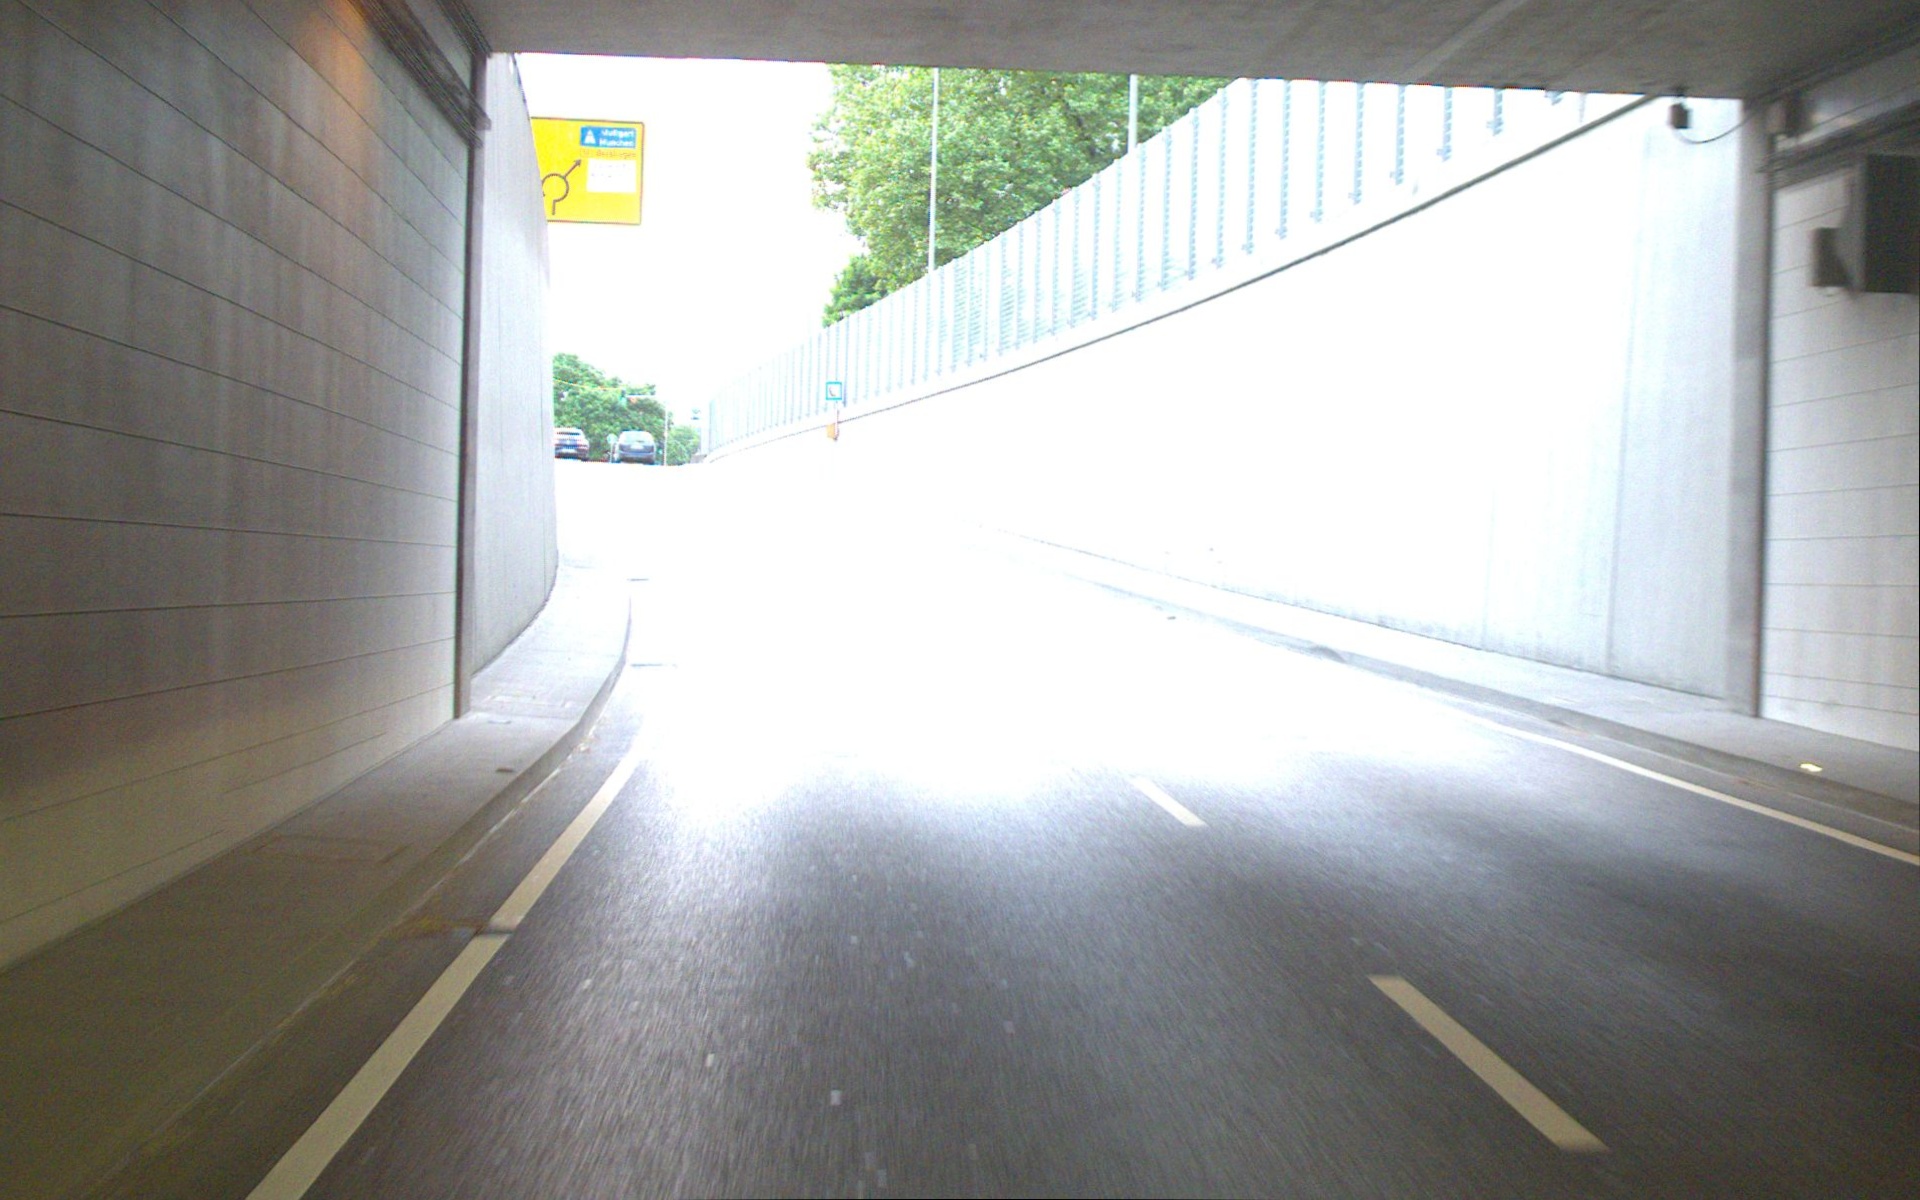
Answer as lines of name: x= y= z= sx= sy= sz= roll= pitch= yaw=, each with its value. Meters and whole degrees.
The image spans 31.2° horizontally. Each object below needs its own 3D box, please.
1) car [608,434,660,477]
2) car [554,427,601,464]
car: x=-14.563 y=-6.444 z=153.569 sx=1.869 sy=1.726 sz=4.001 roll=1 pitch=1 yaw=-11
car: x=-16.543 y=-6.666 z=148.624 sx=1.841 sy=1.384 sz=4.001 roll=1 pitch=1 yaw=-8
